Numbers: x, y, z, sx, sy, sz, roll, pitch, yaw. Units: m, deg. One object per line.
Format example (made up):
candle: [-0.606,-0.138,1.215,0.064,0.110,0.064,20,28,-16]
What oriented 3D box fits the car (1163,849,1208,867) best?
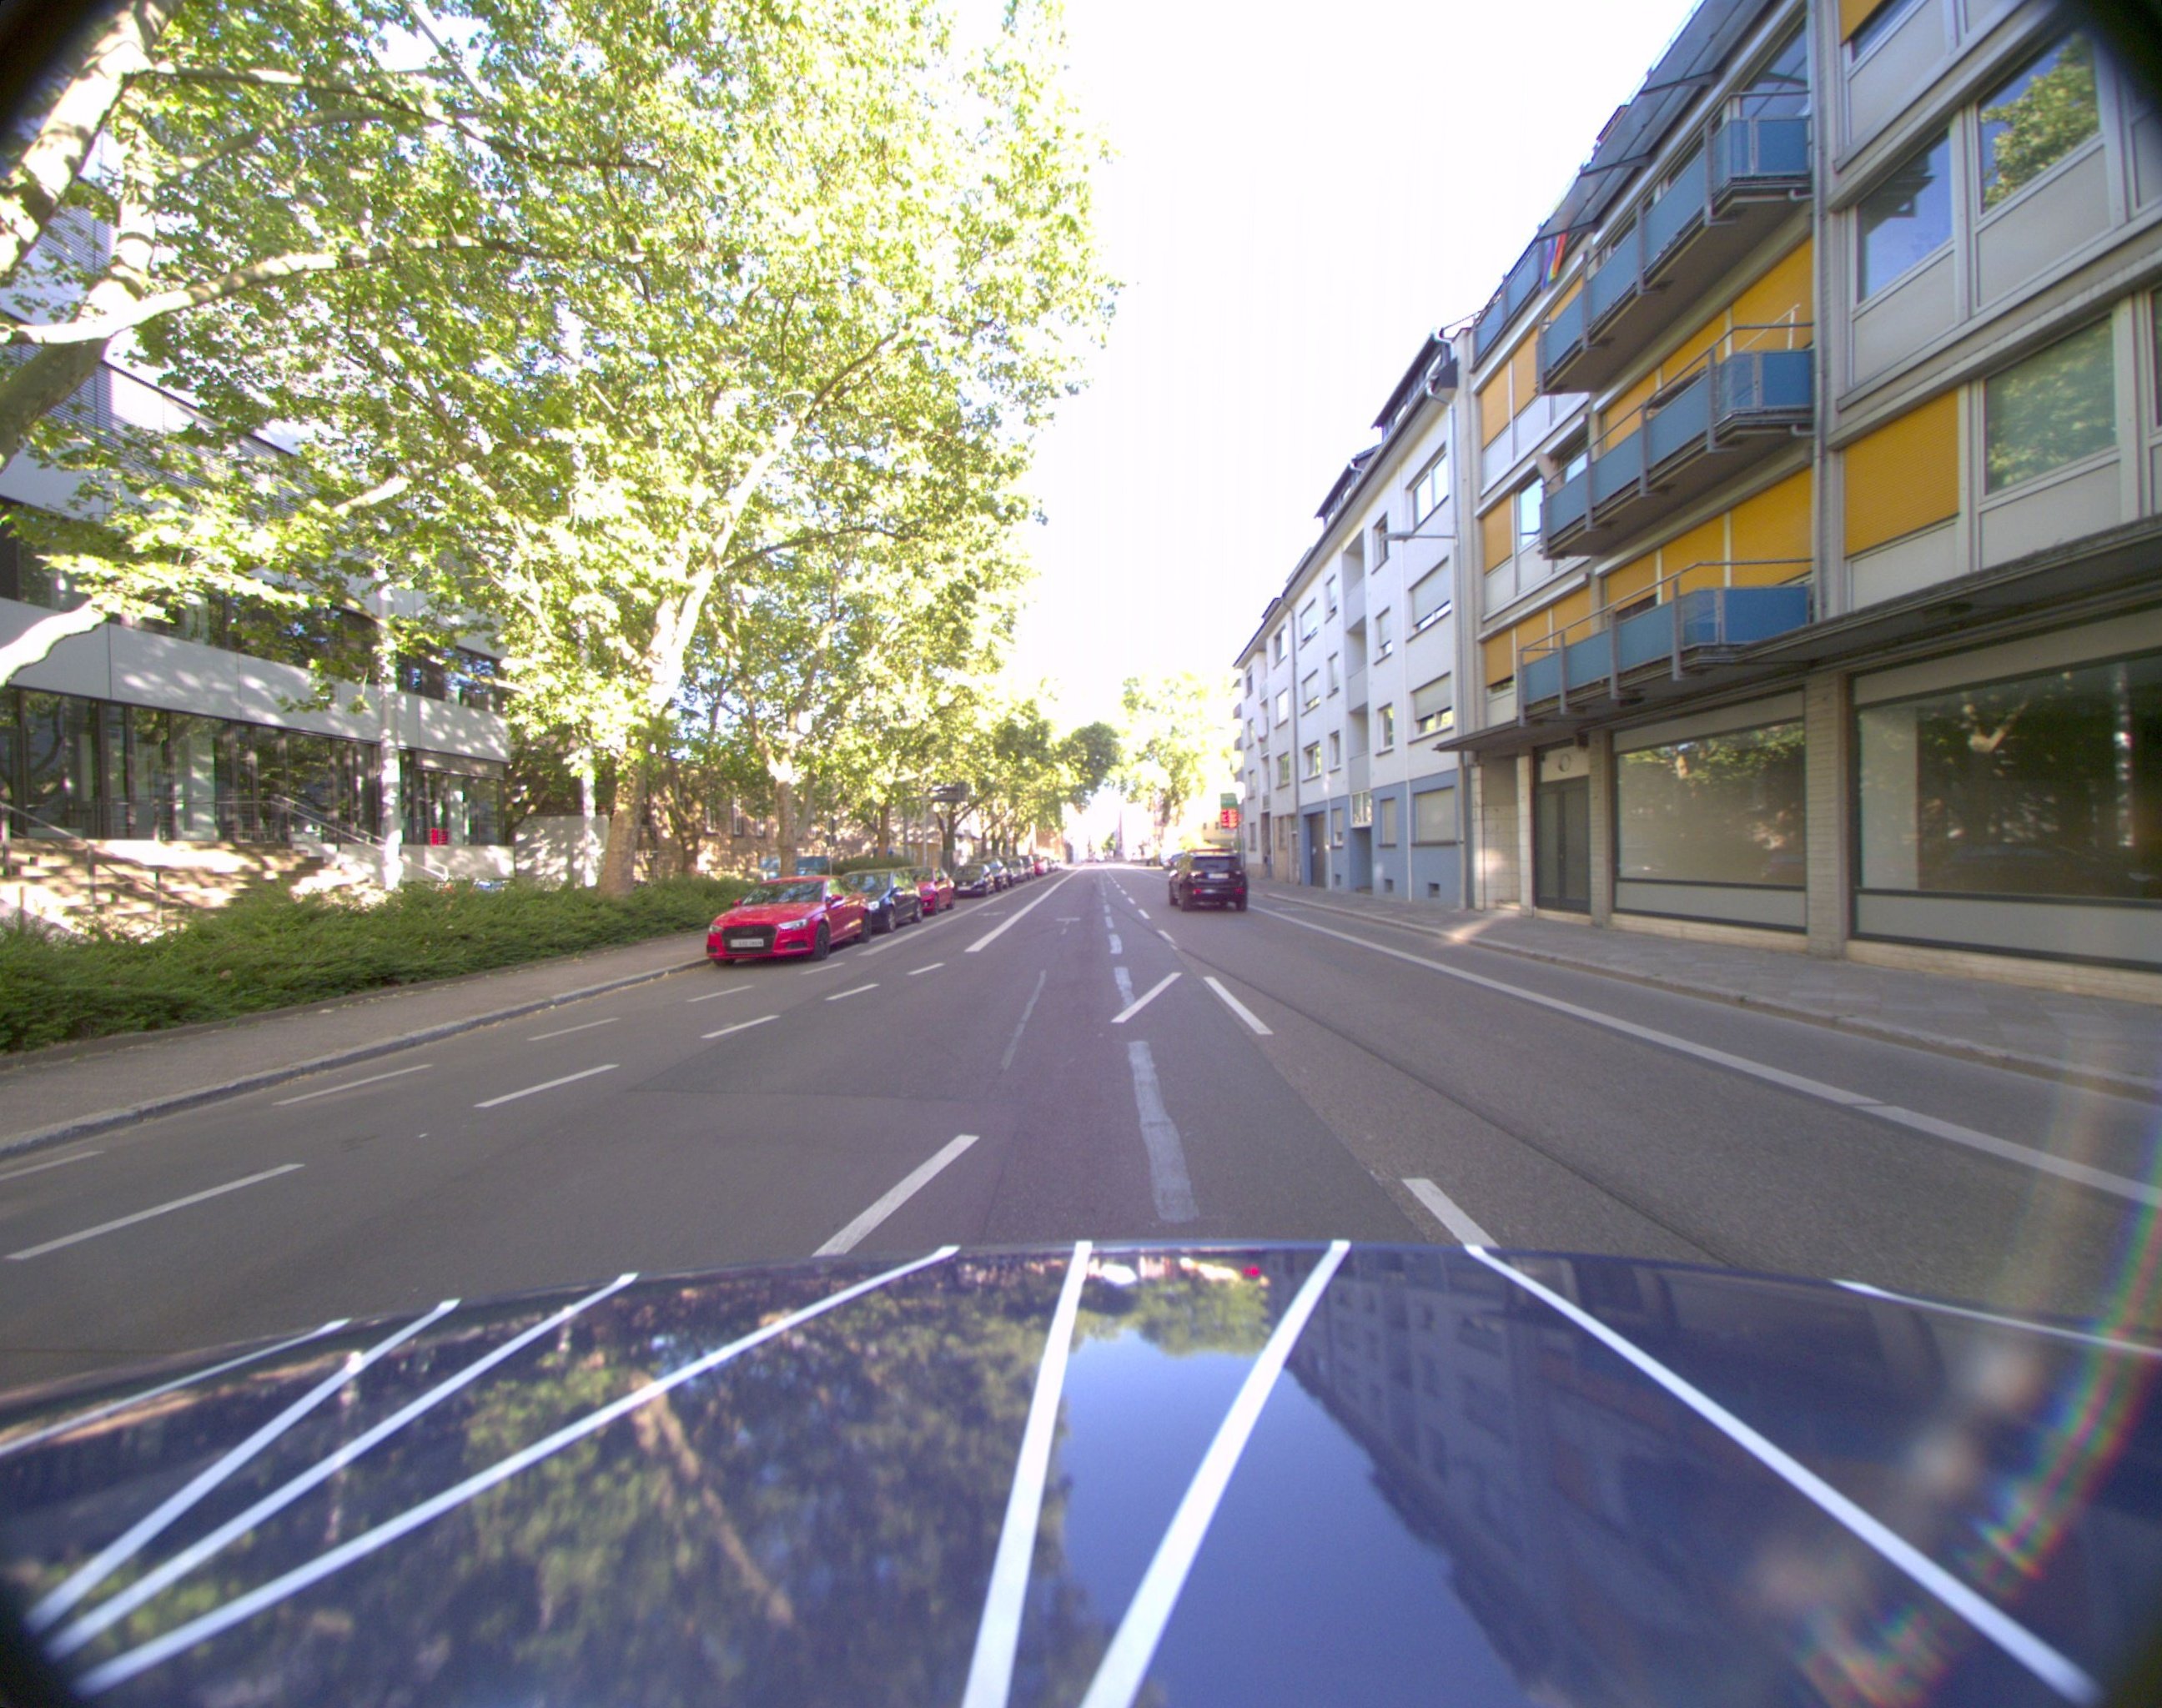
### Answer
car: [10.076,0.361,73.370,3.998,1.618,1.702,-2,1,-5]

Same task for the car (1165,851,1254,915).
car: [3.584,0.755,21.961,1.854,1.561,4.385,-2,1,1]

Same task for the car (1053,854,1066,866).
car: [-2.924,0.812,102.961,1.707,1.459,3.809,-1,0,0]

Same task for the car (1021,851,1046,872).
car: [-4.112,0.615,66.187,1.876,1.685,4.166,-1,0,1]

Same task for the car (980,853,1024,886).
car: [-4.549,0.868,44.200,1.998,1.715,4.262,-2,1,1]

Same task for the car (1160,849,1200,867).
car: [9.875,0.382,75.918,3.658,1.578,1.659,-2,1,-5]

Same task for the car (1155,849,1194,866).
car: [9.611,0.378,78.576,3.703,1.573,1.718,-2,1,-5]

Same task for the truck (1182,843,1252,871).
truck: [10.723,0.239,60.104,5.088,2.009,2.000,-2,1,0]

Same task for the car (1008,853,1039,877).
car: [-4.173,0.751,55.517,1.831,1.608,4.177,-1,0,1]

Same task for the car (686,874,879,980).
car: [-5.109,1.164,13.701,1.775,1.416,4.173,-3,0,0]

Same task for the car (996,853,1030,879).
car: [-4.444,0.739,50.461,1.798,1.608,4.075,-1,0,1]

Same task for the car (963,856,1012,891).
car: [-4.626,0.921,38.217,1.848,1.572,4.232,-2,0,1]

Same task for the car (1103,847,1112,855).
car: [6.758,-0.798,193.469,1.998,2.002,3.999,-2,1,1]

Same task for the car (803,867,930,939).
car: [-5.064,1.095,18.546,1.813,1.449,4.000,-1,0,2]

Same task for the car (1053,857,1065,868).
car: [-2.632,1.028,92.256,1.300,1.220,3.241,-1,2,0]

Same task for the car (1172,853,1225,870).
car: [9.648,0.619,62.829,4.033,1.265,1.906,-2,1,-1]

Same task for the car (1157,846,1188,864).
car: [10.224,0.108,85.222,3.267,1.927,1.693,-2,1,2]

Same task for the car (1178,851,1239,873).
car: [9.163,0.536,54.836,3.997,1.385,1.781,-2,1,-1]

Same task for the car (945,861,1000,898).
car: [-4.680,1.083,33.271,1.745,1.430,4.000,-1,0,1]

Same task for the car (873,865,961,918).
car: [-5.011,1.102,23.746,1.790,1.429,4.000,-1,0,1]

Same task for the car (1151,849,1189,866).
car: [9.481,0.374,80.868,3.728,1.579,1.743,-2,1,-5]
